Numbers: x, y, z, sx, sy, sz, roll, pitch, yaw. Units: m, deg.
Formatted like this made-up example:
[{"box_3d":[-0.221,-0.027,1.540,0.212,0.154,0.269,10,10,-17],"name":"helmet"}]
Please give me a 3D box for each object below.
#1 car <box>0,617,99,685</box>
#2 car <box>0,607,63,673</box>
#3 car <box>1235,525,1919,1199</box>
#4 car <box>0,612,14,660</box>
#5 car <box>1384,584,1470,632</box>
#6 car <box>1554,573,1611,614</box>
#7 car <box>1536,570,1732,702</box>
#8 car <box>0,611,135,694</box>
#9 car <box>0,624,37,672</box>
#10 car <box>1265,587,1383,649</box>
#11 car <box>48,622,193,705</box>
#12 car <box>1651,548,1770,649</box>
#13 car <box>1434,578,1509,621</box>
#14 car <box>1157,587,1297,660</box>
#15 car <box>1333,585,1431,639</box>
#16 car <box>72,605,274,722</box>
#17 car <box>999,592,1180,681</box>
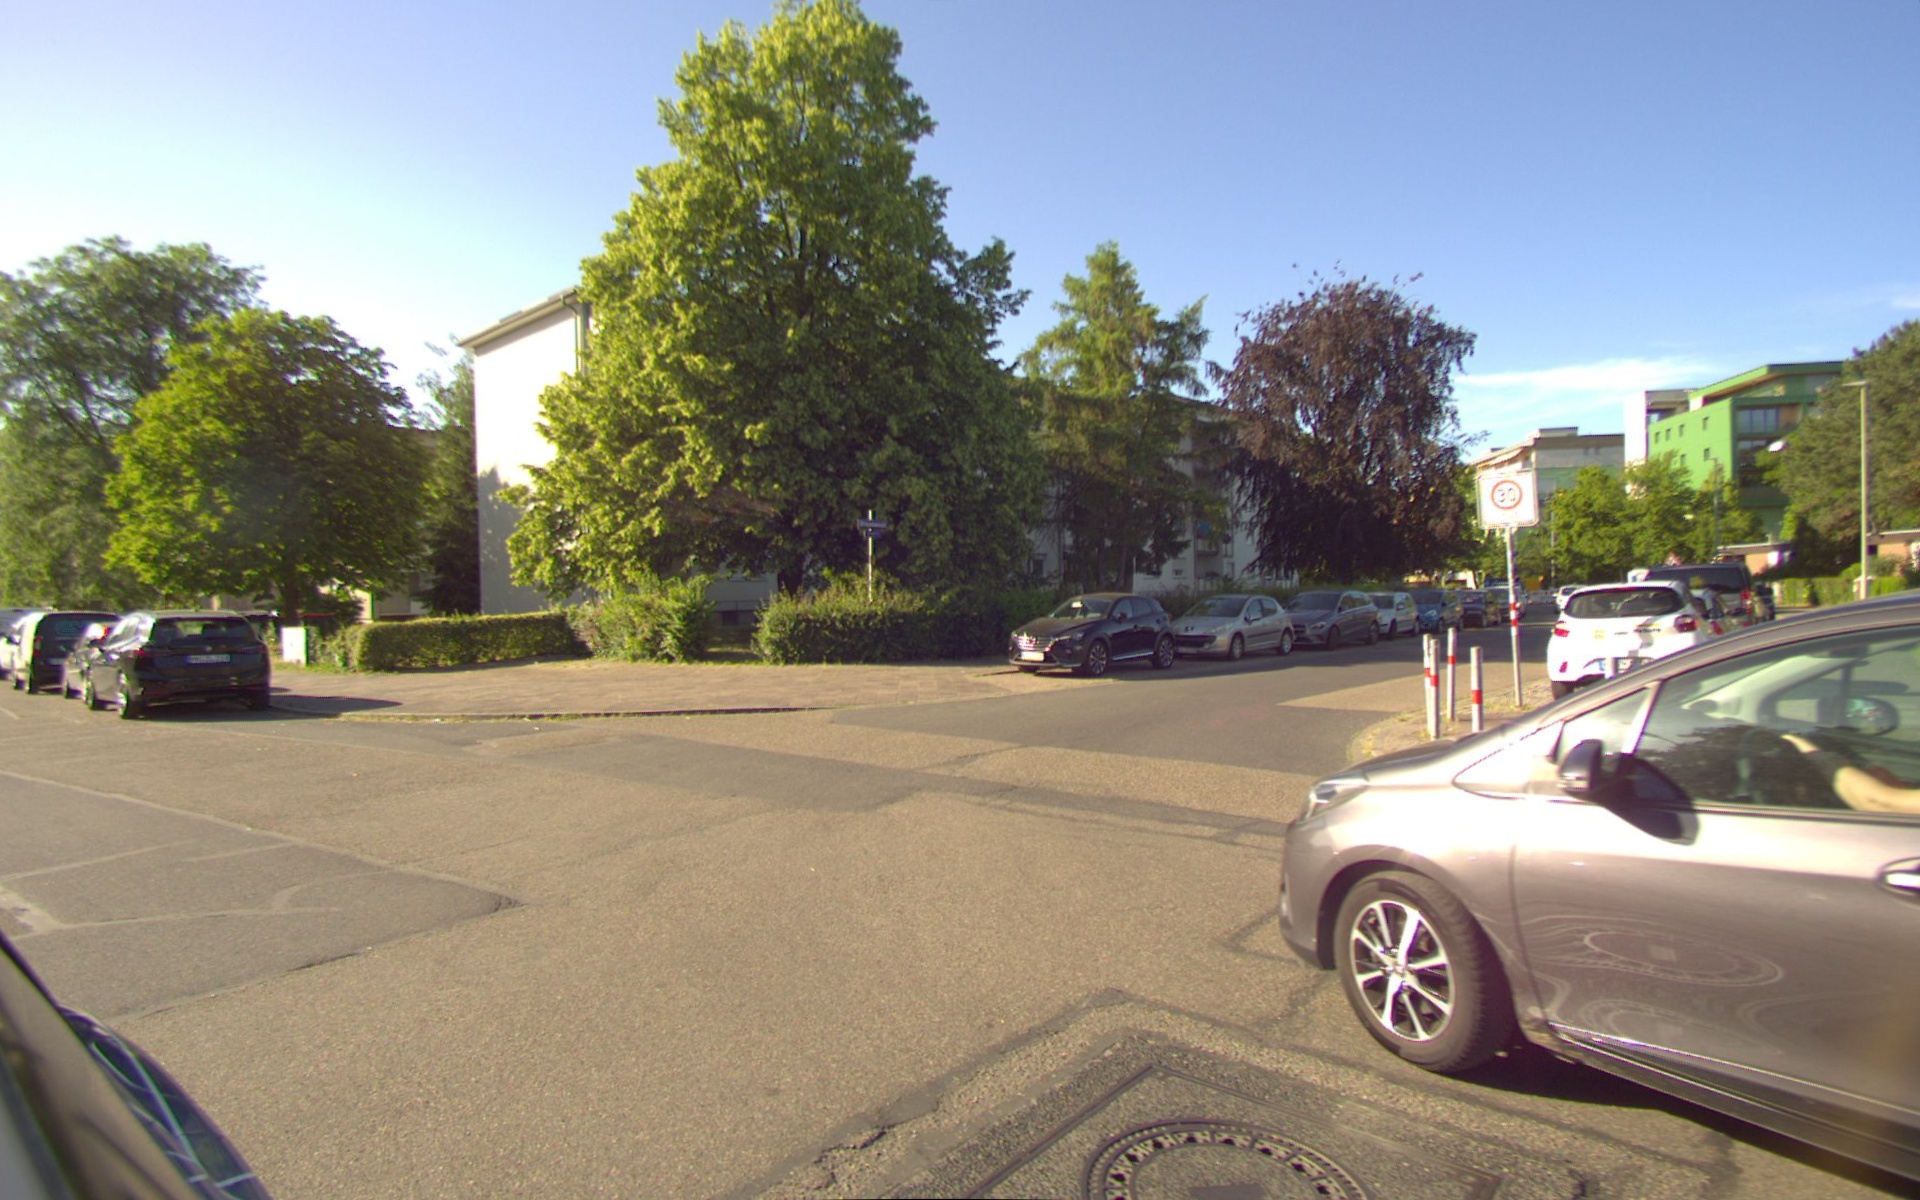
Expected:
[{"box_3d":[-24.266,1.301,26.678,4.166,1.652,1.710,-2,-2,40],"name":"car"},{"box_3d":[-29.921,1.249,31.995,4.510,1.956,1.884,-2,-3,43],"name":"car"},{"box_3d":[2.726,0.630,2.382,1.626,1.567,4.014,0,0,-31],"name":"car"},{"box_3d":[-41.059,1.514,42.410,3.811,1.968,1.709,-2,-3,42],"name":"car"},{"box_3d":[16.118,0.276,34.858,1.745,1.554,4.046,-1,-1,39],"name":"car"},{"box_3d":[32.451,-0.341,52.739,1.998,2.029,3.947,-2,0,39],"name":"car"},{"box_3d":[9.028,0.432,13.446,1.736,1.473,3.484,-6,-3,39],"name":"car"},{"box_3d":[-19.956,1.137,22.580,3.647,1.695,1.794,-2,-3,41],"name":"car"},{"box_3d":[-34.654,1.716,36.544,3.814,1.652,1.708,-2,-3,44],"name":"car"},{"box_3d":[9.870,0.463,27.292,1.745,1.554,4.046,-1,-1,39],"name":"car"},{"box_3d":[-16.145,1.166,19.404,3.652,1.448,1.606,-2,-3,42],"name":"car"},{"box_3d":[15.961,-0.025,21.438,1.736,1.869,4.287,-4,-2,39],"name":"car"},{"box_3d":[19.725,-0.015,38.944,1.745,1.554,4.046,-1,-1,39],"name":"car"},{"box_3d":[6.335,0.522,23.748,1.745,1.554,3.876,-1,-1,39],"name":"car"},{"box_3d":[13.211,0.358,31.541,1.745,1.554,4.046,-1,-1,39],"name":"car"},{"box_3d":[-12.503,0.923,15.970,4.422,1.586,1.761,-2,-1,42],"name":"car"},{"box_3d":[2.620,0.653,19.779,1.745,1.554,3.876,-1,-1,39],"name":"car"}]
